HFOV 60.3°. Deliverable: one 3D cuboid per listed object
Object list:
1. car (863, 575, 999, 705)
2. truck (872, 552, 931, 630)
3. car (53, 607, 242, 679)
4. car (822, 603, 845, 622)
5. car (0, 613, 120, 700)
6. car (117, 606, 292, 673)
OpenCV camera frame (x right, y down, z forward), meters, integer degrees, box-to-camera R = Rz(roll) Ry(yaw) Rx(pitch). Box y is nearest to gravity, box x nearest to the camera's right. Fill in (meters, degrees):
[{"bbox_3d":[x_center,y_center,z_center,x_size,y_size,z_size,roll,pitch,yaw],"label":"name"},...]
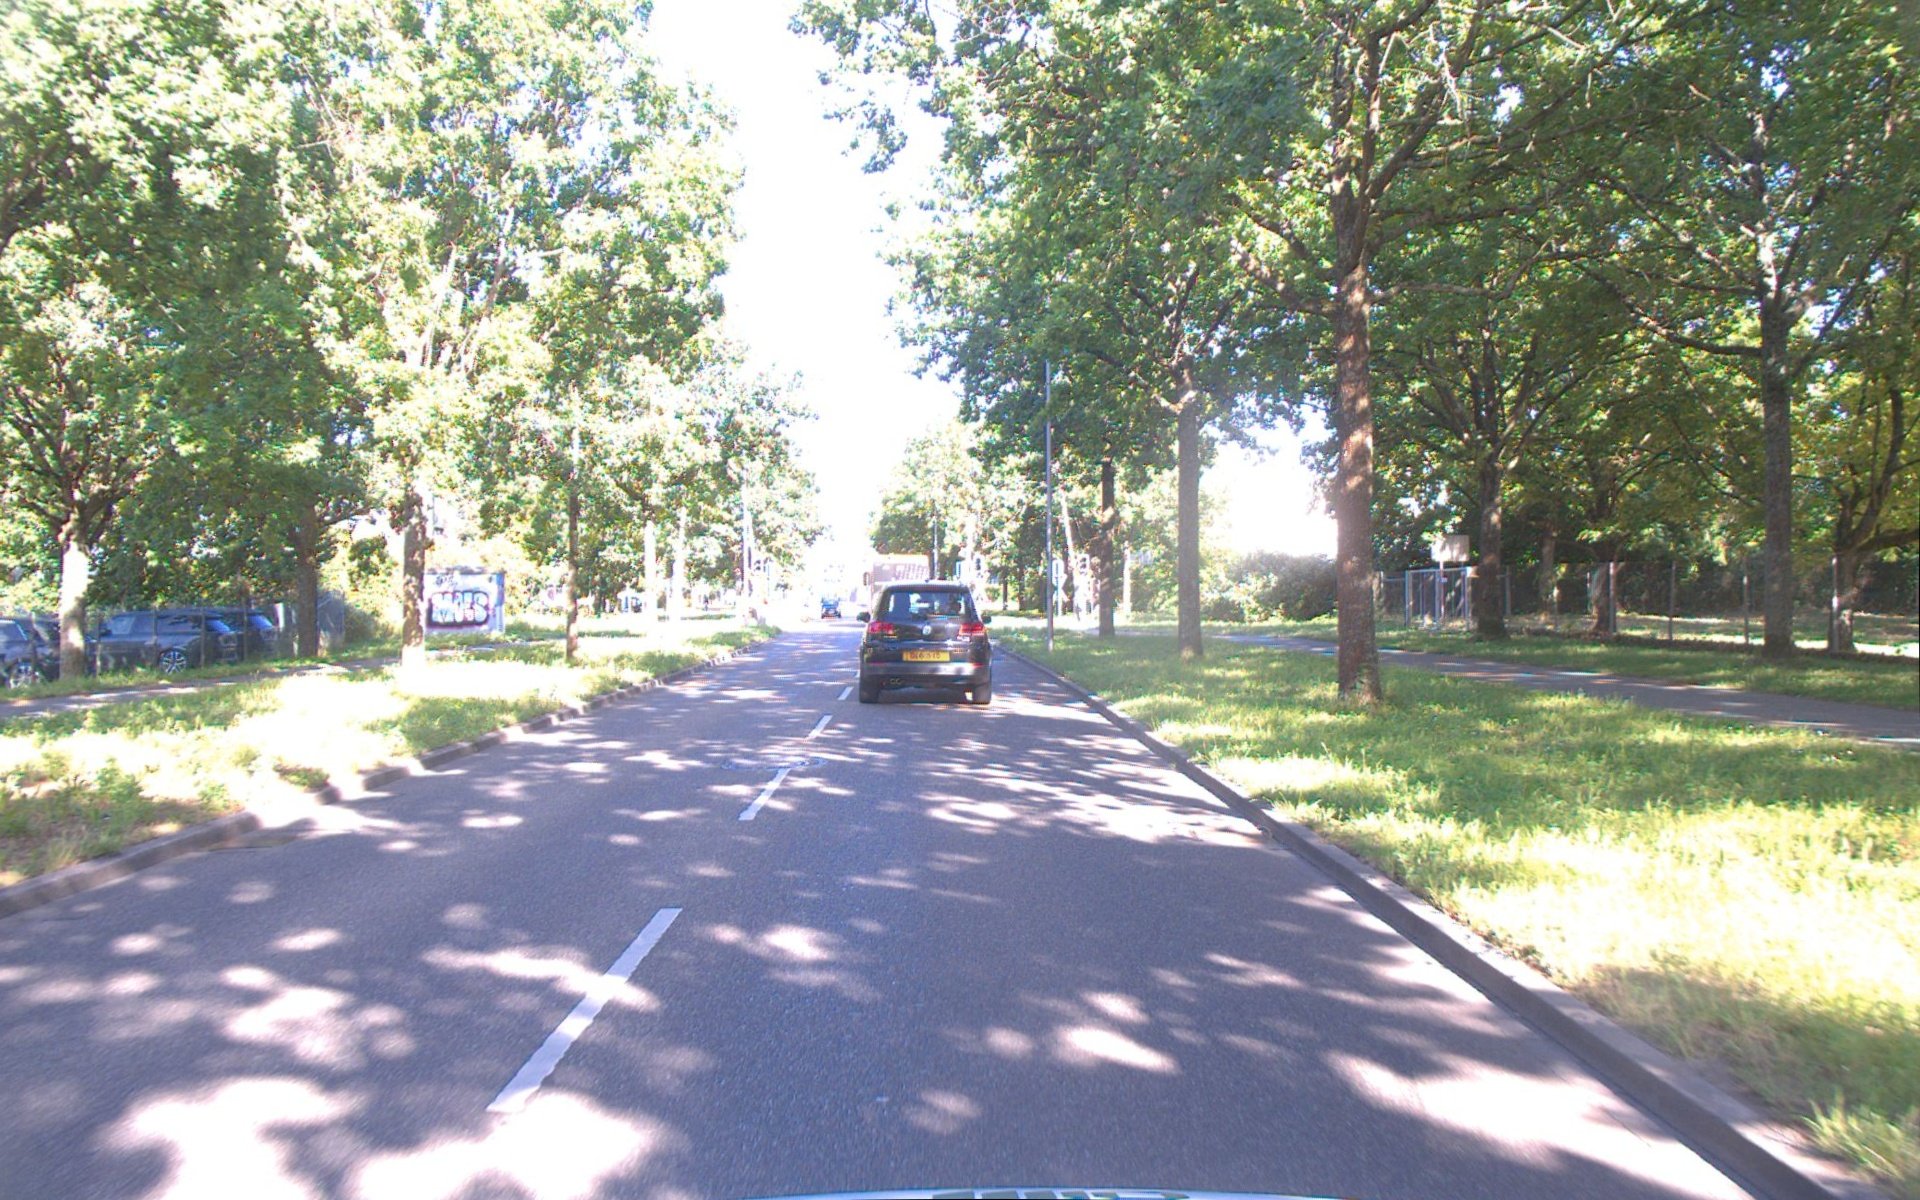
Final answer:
[{"bbox_3d":[-0.441,0.522,23.611,1.746,1.662,3.998,1,0,-2],"label":"car"},{"bbox_3d":[-2.653,-0.383,74.720,2.461,3.300,8.148,-1,0,-2],"label":"truck"},{"bbox_3d":[-21.987,1.143,44.917,4.109,1.833,1.998,1,0,-6],"label":"car"},{"bbox_3d":[-10.134,0.995,132.719,1.533,1.531,4.000,1,0,0],"label":"car"},{"bbox_3d":[-21.333,1.241,37.159,3.912,1.833,1.996,1,0,-8],"label":"car"},{"bbox_3d":[-21.764,1.125,47.777,4.109,1.833,1.998,1,0,-6],"label":"car"}]
